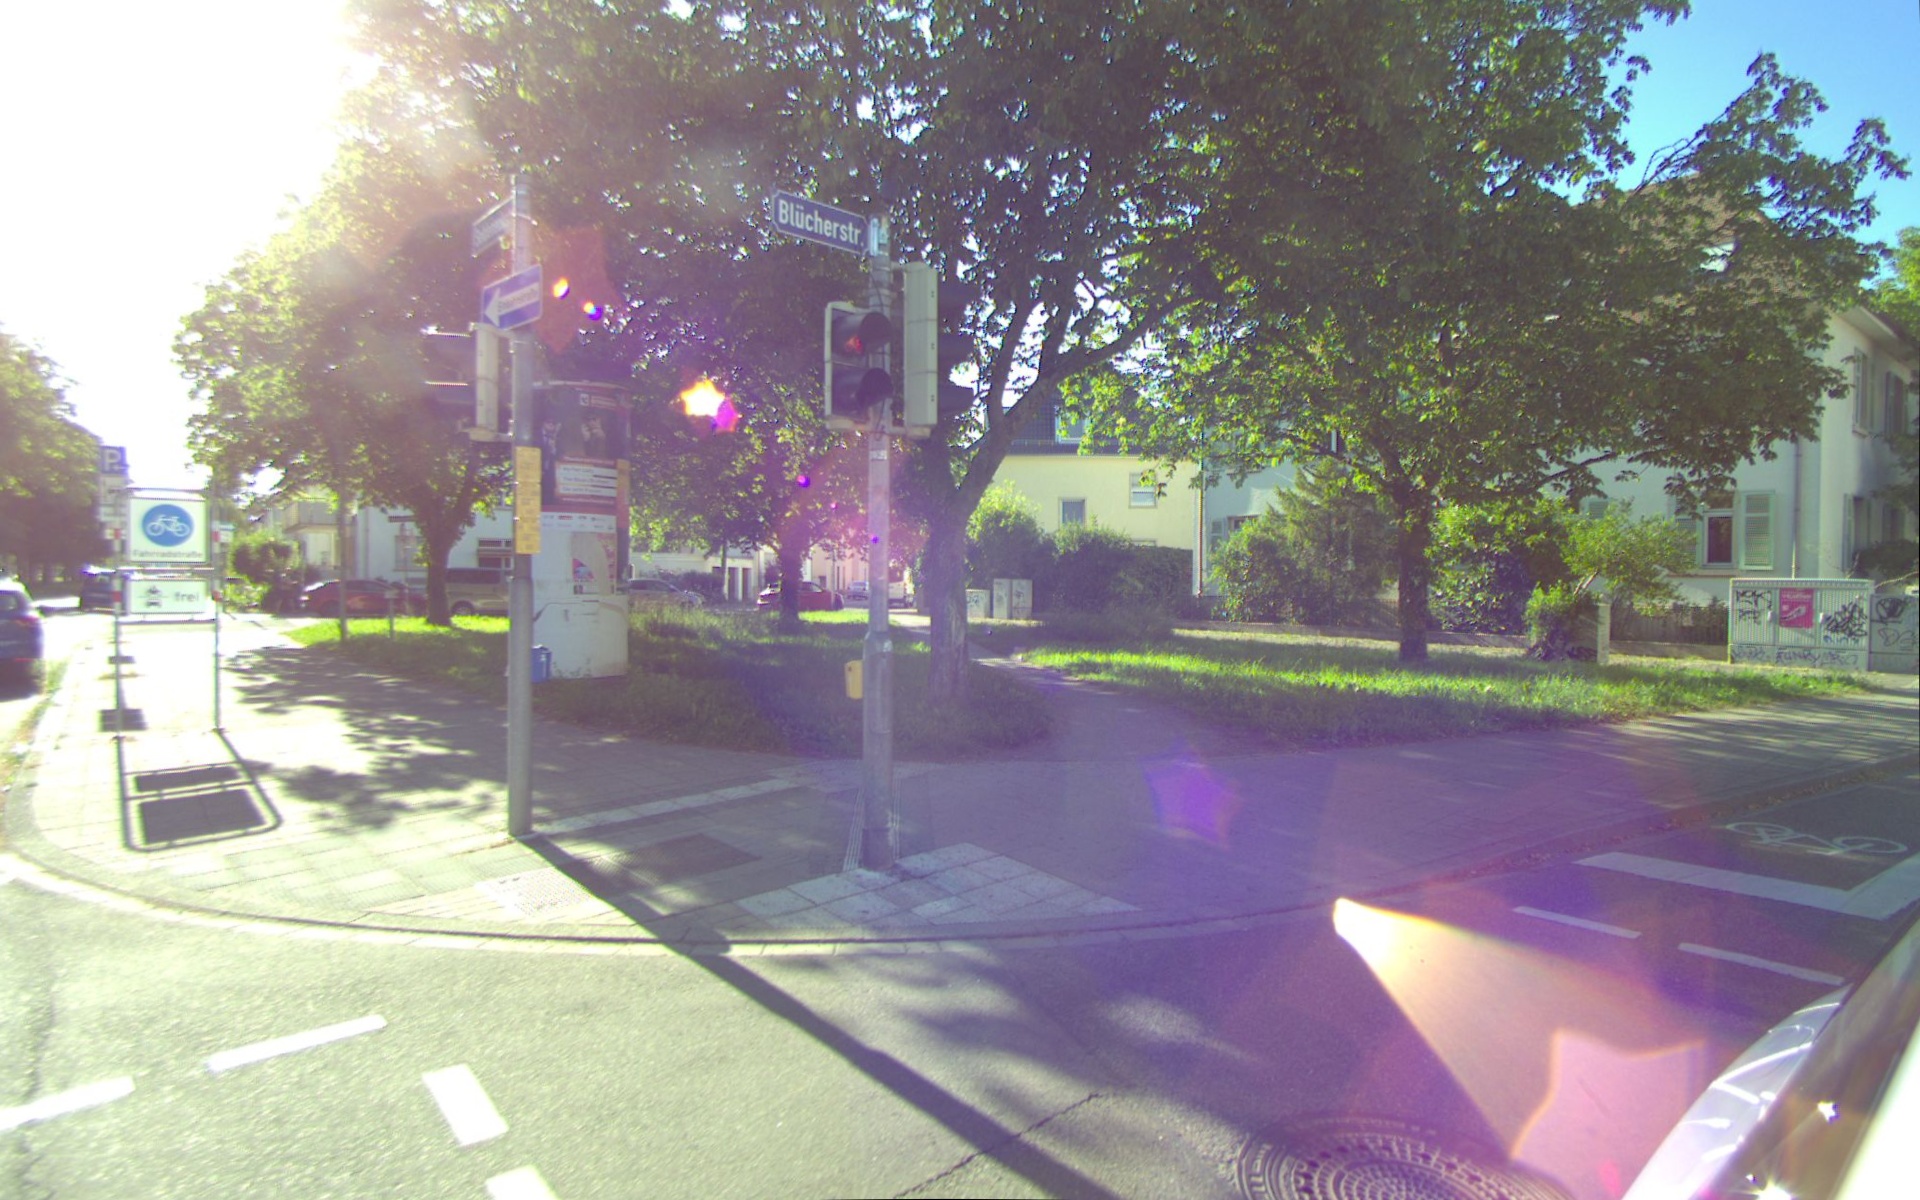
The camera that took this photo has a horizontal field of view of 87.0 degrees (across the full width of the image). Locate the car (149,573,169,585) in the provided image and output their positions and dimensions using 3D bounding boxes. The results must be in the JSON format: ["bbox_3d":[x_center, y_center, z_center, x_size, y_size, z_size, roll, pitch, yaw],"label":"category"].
[{"bbox_3d":[-94.329,-2.464,119.134,1.792,1.451,3.998,-1,2,-38],"label":"car"}]

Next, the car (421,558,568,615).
[{"bbox_3d":[-15.867,-0.471,34.579,4.261,1.858,1.923,0,1,-37],"label":"car"}]

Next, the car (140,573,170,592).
[{"bbox_3d":[-62.932,-1.359,79.169,1.792,1.451,3.998,-1,2,-38],"label":"car"}]

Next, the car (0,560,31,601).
[{"bbox_3d":[-37.581,-0.715,39.270,1.641,1.451,3.894,-3,1,-34],"label":"car"}]

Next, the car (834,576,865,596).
[{"bbox_3d":[-8.623,-1.104,79.403,1.728,1.489,3.892,1,1,5],"label":"car"}]

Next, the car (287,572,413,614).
[{"bbox_3d":[-22.598,-0.278,37.520,3.826,1.489,1.758,0,1,-39],"label":"car"}]

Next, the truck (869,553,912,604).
[{"bbox_3d":[-3.631,-1.146,53.876,1.962,2.608,4.981,0,1,0],"label":"truck"}]

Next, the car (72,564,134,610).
[{"bbox_3d":[-36.541,-0.536,43.239,1.784,1.848,3.996,-3,1,-38],"label":"car"}]

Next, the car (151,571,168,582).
[{"bbox_3d":[-110.723,-3.241,140.065,1.792,1.451,3.998,-1,2,-38],"label":"car"}]

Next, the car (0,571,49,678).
[{"bbox_3d":[-14.683,0.296,14.978,1.786,1.451,3.992,0,2,-42],"label":"car"}]

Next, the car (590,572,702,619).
[{"bbox_3d":[-11.679,-0.193,37.693,3.639,1.668,1.925,0,1,-32],"label":"car"}]

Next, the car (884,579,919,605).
[{"bbox_3d":[-3.394,-0.501,59.422,1.727,1.489,3.895,1,1,2],"label":"car"}]

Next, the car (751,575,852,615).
[{"bbox_3d":[-6.512,-0.182,41.977,1.599,1.554,4.224,1,0,38],"label":"car"}]
